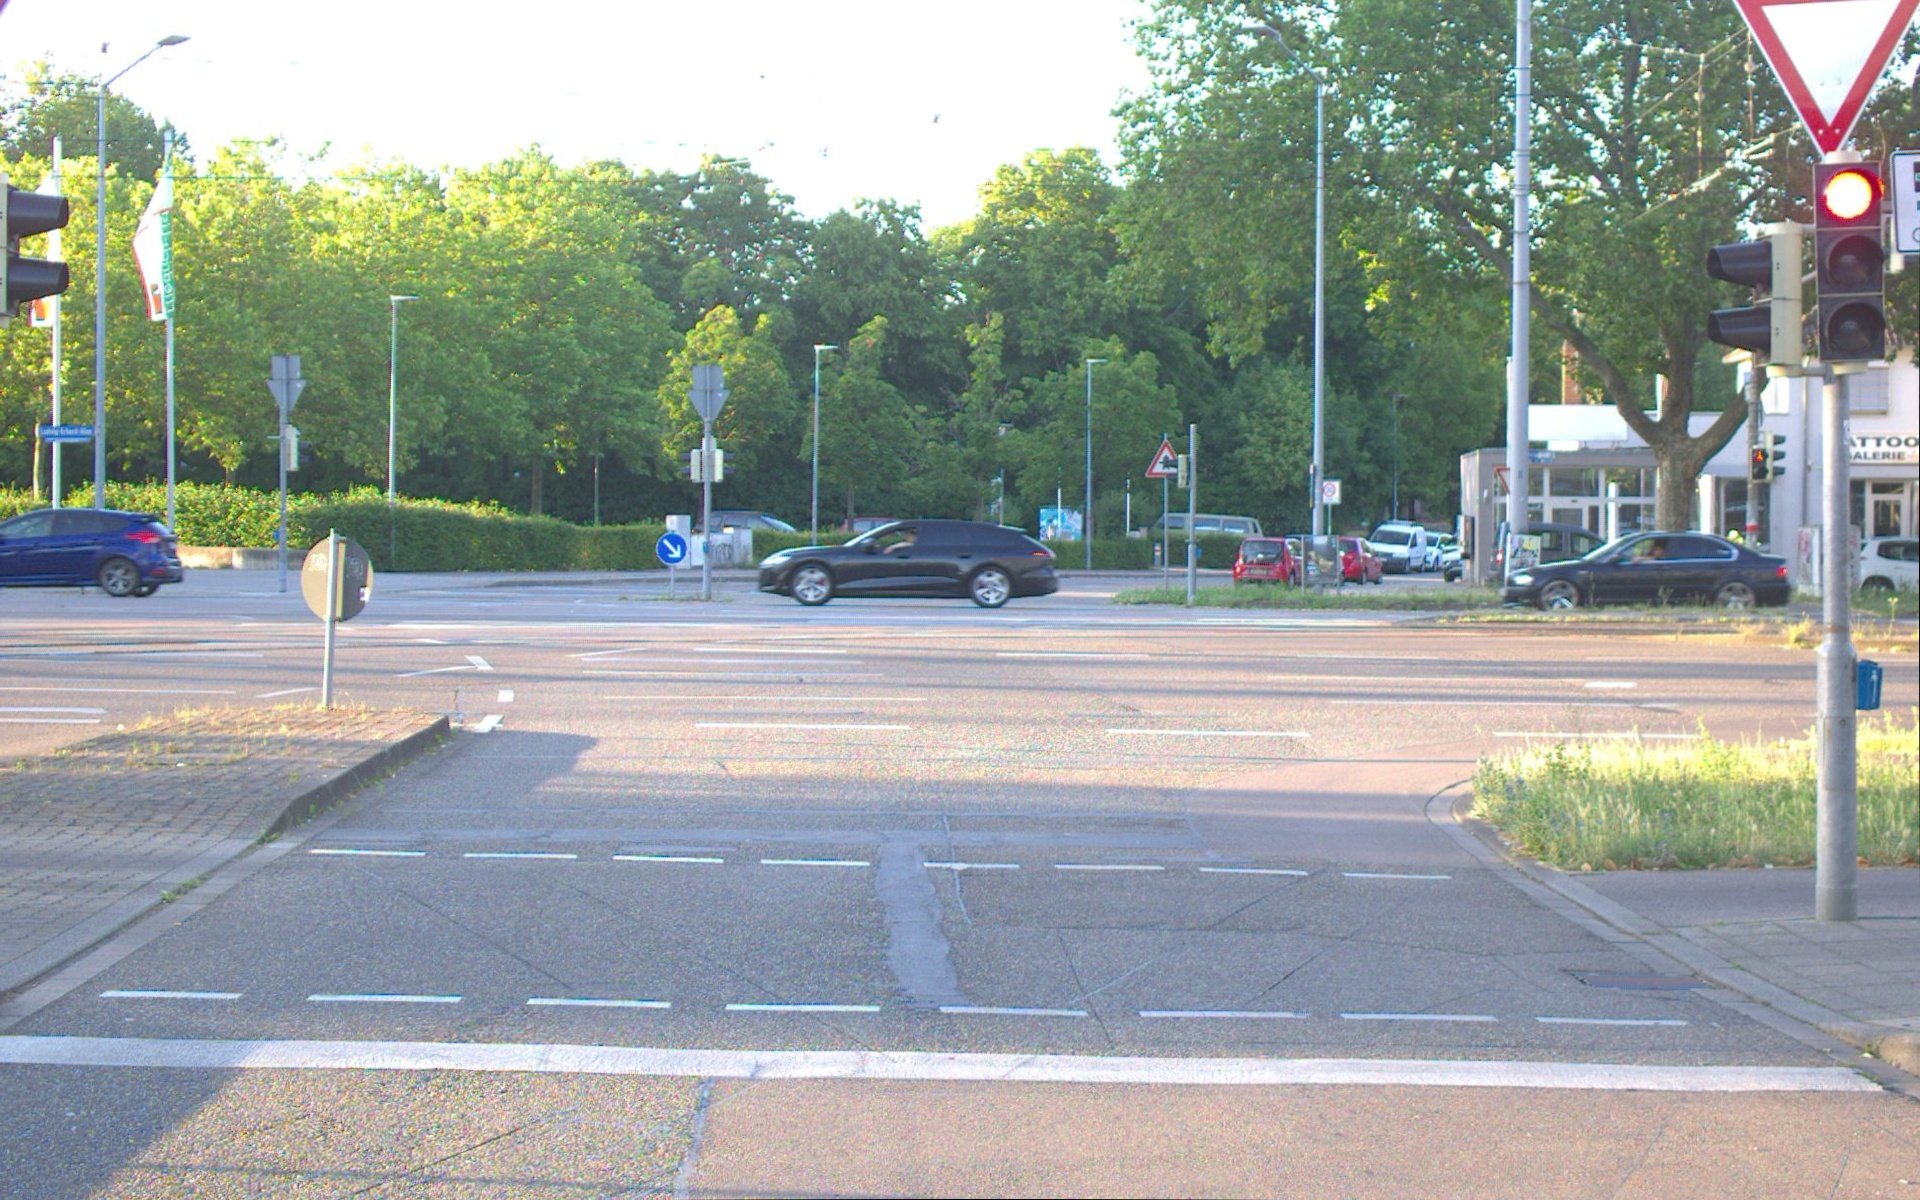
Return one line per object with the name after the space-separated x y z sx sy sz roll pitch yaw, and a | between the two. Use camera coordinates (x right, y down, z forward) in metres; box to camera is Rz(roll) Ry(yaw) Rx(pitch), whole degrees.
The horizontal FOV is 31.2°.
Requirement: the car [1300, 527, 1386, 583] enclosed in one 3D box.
11.542 -1.342 103.367 1.995 1.656 3.997 1 0 15 | car

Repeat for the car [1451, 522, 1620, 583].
14.900 -1.219 89.162 4.220 1.547 1.999 1 0 7 | car

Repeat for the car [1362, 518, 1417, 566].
16.410 -2.195 131.184 1.864 1.788 3.998 1 0 10 | car

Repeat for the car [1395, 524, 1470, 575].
15.906 -1.681 115.593 1.995 1.656 3.997 1 0 15 | car

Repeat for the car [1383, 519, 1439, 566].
17.864 -2.257 136.078 1.864 1.788 3.998 1 0 12 | car

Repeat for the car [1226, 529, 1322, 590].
8.763 -1.103 95.680 1.995 1.656 3.997 1 0 15 | car

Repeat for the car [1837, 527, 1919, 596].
20.452 -0.797 72.323 3.741 1.435 1.663 1 0 9 | car

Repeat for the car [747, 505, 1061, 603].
-0.926 -0.750 56.941 5.099 1.547 2.000 0 0 -1 | car

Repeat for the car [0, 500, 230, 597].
-14.513 -0.839 56.782 4.472 1.547 2.000 0 0 1 | car

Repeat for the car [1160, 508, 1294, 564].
9.766 -2.324 125.868 4.774 1.999 2.000 0 0 2 | car

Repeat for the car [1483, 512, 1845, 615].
10.980 -0.565 53.851 5.224 1.547 2.000 0 0 -1 | car
